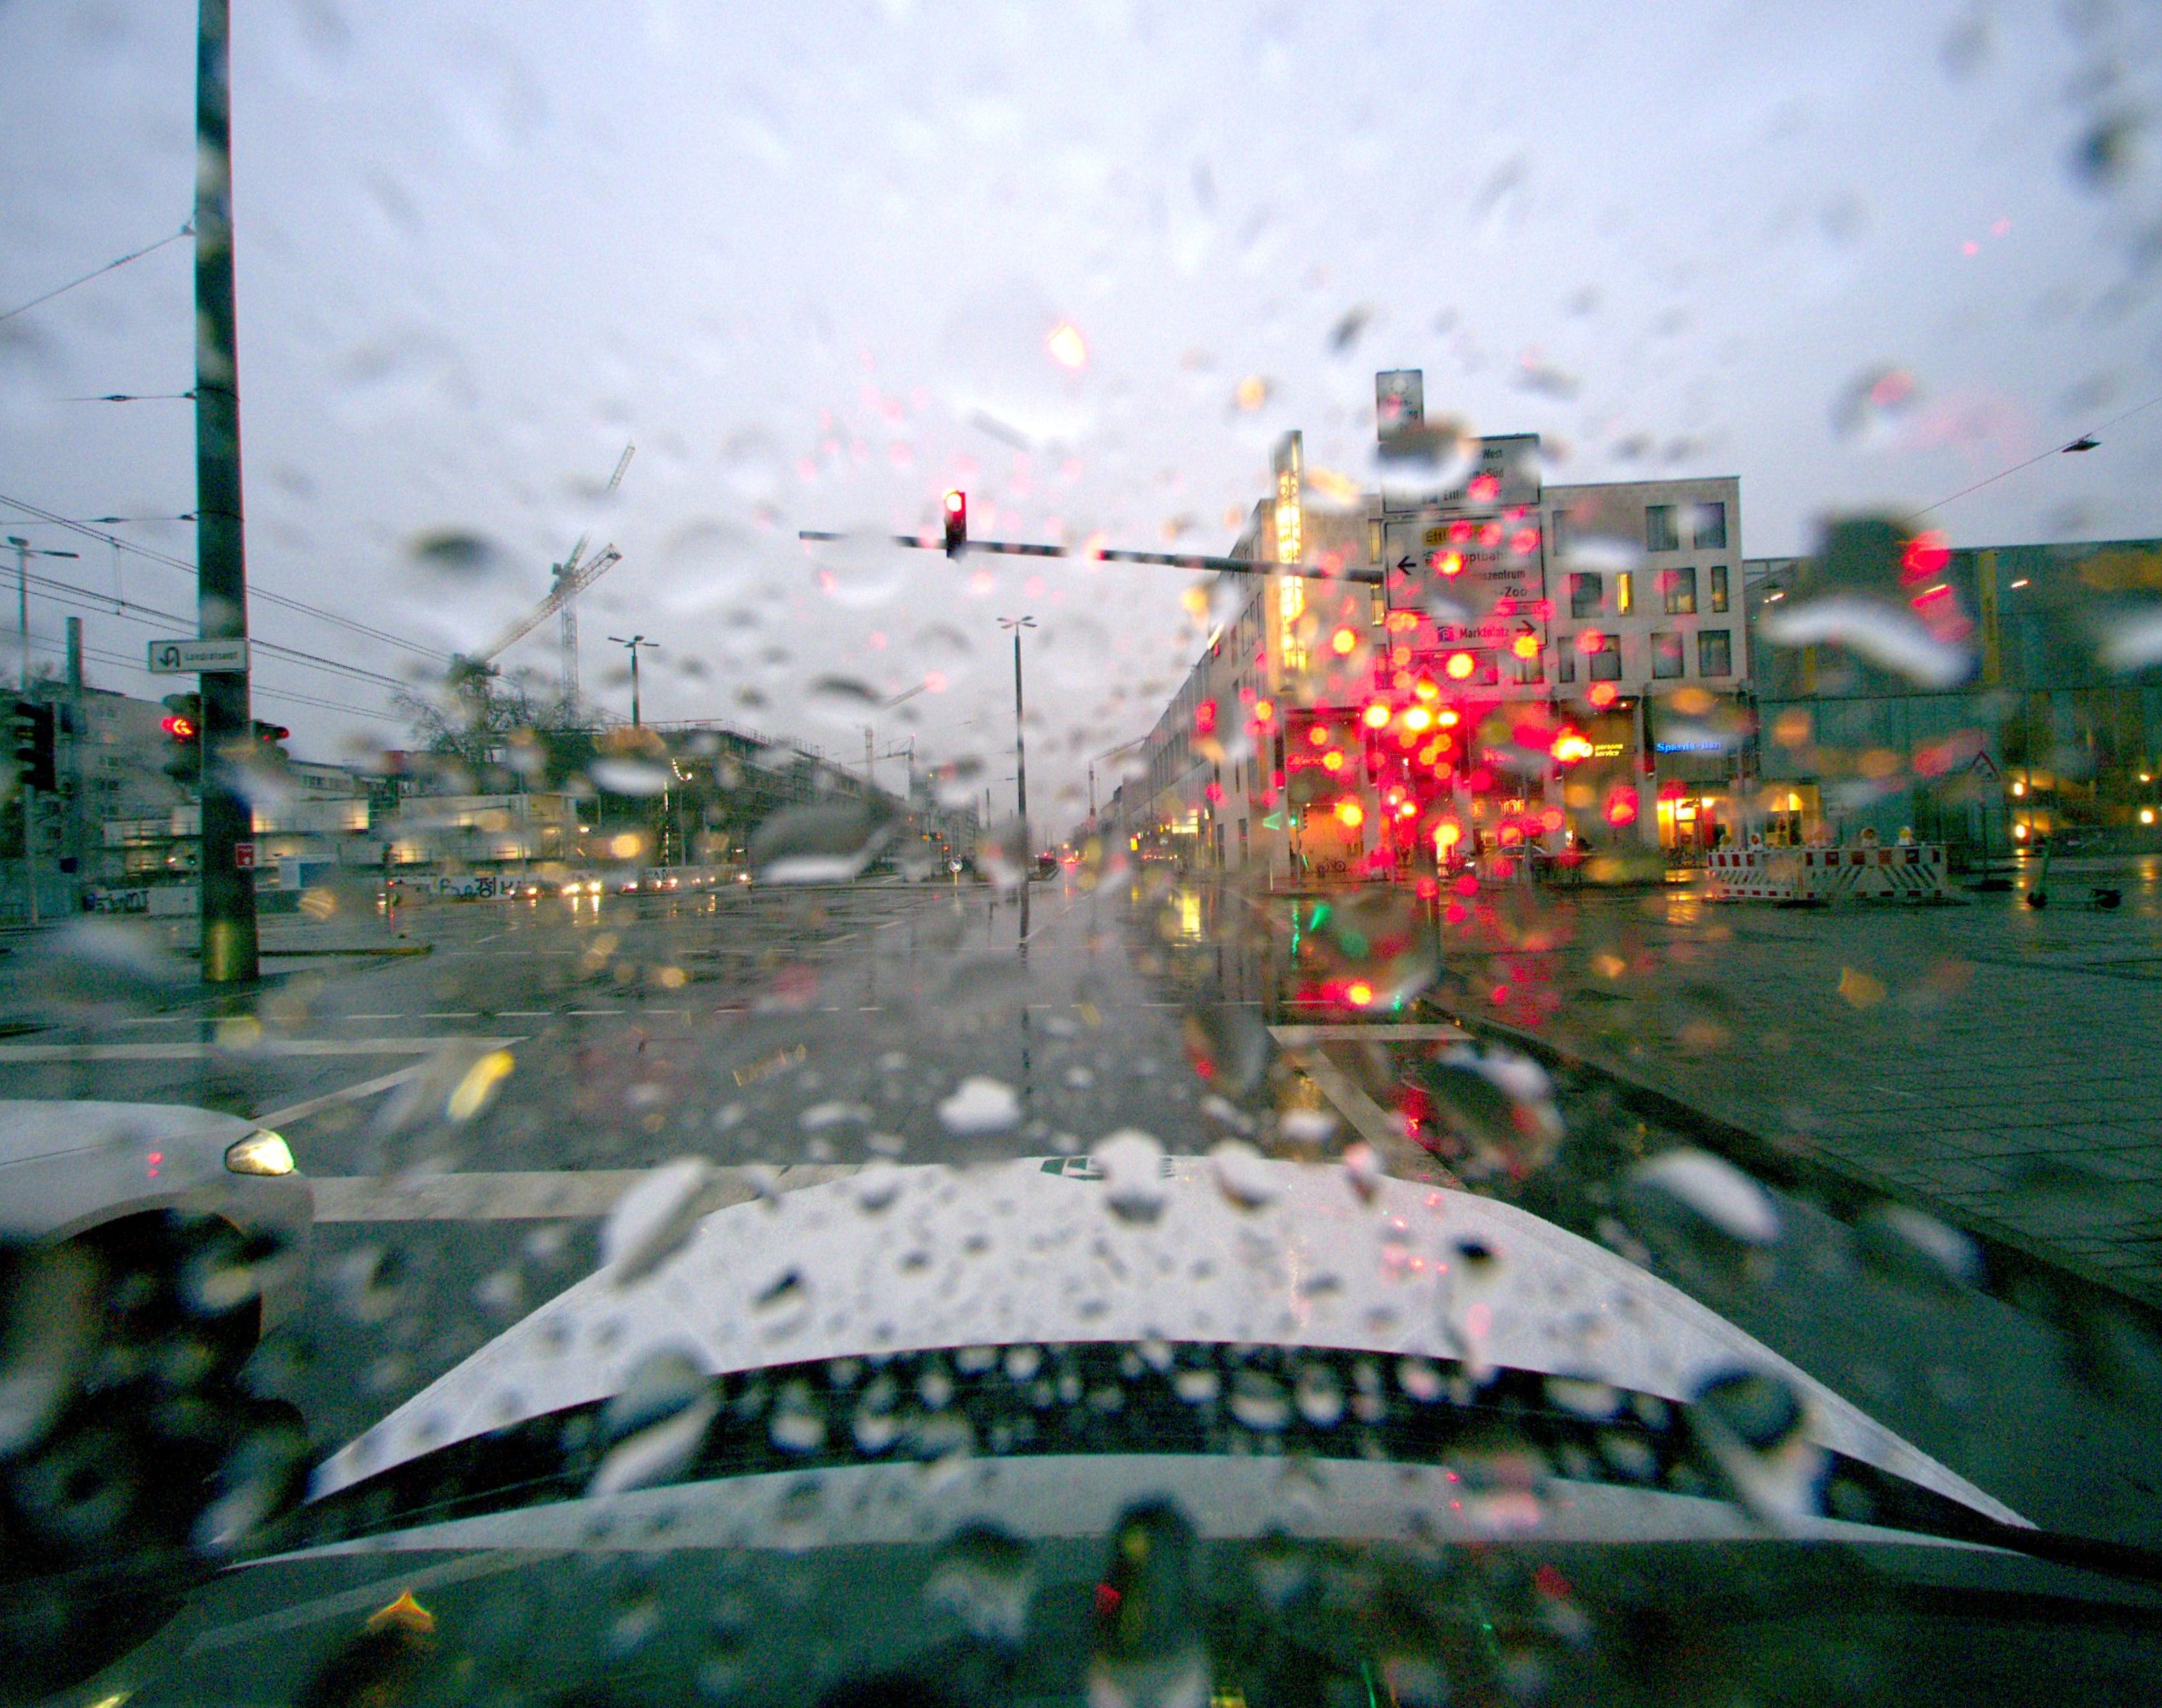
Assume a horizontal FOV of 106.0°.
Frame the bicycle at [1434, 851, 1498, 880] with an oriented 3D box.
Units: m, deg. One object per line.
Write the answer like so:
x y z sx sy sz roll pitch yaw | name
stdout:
19.253 0.581 40.786 2.705 1.359 0.957 -2 -1 -2 | bicycle

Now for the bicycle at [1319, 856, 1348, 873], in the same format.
15.694 0.657 50.595 1.642 1.070 0.524 0 -1 -2 | bicycle

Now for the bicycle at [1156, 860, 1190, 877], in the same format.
6.936 1.098 61.519 2.434 1.154 0.674 -2 -1 0 | bicycle

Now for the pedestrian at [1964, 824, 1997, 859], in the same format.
43.999 -0.619 39.826 0.737 1.684 0.783 0 -1 8 | pedestrian

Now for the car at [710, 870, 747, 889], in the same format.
-35.058 2.514 81.100 1.987 1.790 3.999 0 -1 0 | car

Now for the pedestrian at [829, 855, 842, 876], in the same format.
-23.853 1.099 79.275 0.939 2.014 1.093 0 -1 -2 | pedestrian

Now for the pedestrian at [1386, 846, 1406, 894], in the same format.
16.203 0.802 41.919 0.691 2.448 0.792 0 -1 1 | pedestrian

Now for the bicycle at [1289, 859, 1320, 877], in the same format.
13.833 0.849 50.468 1.763 1.070 0.524 0 -1 -2 | bicycle

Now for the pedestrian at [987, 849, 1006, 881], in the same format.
-4.842 0.615 46.819 0.826 1.831 0.778 0 -1 -29 | pedestrian

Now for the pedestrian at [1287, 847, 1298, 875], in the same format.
12.712 0.426 48.928 0.480 1.663 0.460 -3 -1 32 | pedestrian

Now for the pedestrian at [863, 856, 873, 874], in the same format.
-24.071 1.205 92.104 0.941 2.014 1.092 0 -1 -6 | pedestrian

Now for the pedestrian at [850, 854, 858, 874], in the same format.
-22.734 1.015 81.527 0.569 1.968 0.664 1 -1 -4 | pedestrian

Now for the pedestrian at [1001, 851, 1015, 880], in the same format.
-4.306 0.688 48.216 0.605 1.686 0.581 -1 -1 44 | pedestrian

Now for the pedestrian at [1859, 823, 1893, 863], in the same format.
34.809 -0.473 35.662 0.737 1.684 0.783 0 -1 8 | pedestrian

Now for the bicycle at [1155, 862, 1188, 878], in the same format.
6.917 1.220 62.287 2.417 1.099 0.712 -2 -1 0 | bicycle

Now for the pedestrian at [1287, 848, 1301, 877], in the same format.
12.787 0.489 48.970 0.634 1.709 0.574 -2 -1 1 | pedestrian

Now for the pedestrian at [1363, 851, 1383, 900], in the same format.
14.738 1.089 41.142 0.712 2.441 0.758 0 -1 1 | pedestrian

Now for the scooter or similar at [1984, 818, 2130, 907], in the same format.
15.687 0.132 13.146 0.590 1.352 1.495 0 0 2 | scooter or similar

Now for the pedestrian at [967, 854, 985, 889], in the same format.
-6.133 1.019 47.682 0.776 2.014 0.732 -1 -1 44 | pedestrian

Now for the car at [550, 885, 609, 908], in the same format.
-38.982 3.296 63.388 1.986 1.530 4.001 -2 0 2 | car

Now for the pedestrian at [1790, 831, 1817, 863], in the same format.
38.343 -0.368 43.230 0.737 1.684 0.783 0 -1 8 | pedestrian

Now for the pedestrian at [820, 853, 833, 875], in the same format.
-23.918 0.928 76.541 0.940 2.014 1.093 0 -1 -3 | pedestrian

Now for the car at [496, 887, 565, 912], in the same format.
-38.505 3.156 57.059 1.986 1.530 4.001 -2 0 2 | car

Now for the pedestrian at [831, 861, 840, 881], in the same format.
-23.459 1.589 77.774 0.696 1.881 0.553 0 -1 1 | pedestrian

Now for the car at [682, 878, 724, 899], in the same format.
-34.987 3.136 75.537 1.987 1.790 3.999 0 -1 0 | car

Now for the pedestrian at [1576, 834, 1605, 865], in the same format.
27.935 -0.240 44.661 1.026 1.684 0.824 0 -1 1 | pedestrian

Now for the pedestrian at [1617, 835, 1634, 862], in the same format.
30.367 -0.289 45.402 0.583 1.494 0.520 -1 -1 4 | pedestrian

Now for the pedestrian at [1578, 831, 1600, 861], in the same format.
29.372 -0.431 47.095 0.890 1.684 0.528 -2 -1 1 | pedestrian

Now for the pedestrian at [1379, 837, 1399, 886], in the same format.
15.557 0.397 41.161 0.687 2.441 0.758 0 -1 1 | pedestrian

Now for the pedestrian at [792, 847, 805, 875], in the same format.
-24.113 0.597 69.540 0.762 2.323 0.763 0 -2 1 | pedestrian

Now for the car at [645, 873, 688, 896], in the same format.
-34.814 2.521 68.543 1.862 1.828 3.993 0 -1 -5 | car

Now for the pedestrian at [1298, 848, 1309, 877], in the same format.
13.638 0.508 49.902 0.596 1.745 0.526 -1 -1 10 | pedestrian

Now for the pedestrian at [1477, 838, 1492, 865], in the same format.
26.143 -0.140 52.787 0.728 1.718 0.743 -3 -1 29 | pedestrian

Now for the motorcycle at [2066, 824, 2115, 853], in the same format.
48.253 -0.753 38.922 1.482 1.352 0.595 0 0 5 | motorcycle

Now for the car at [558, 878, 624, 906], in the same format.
-33.725 2.583 56.147 1.986 1.657 4.001 -2 0 2 | car

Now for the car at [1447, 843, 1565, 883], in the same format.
17.944 0.370 34.551 3.970 1.618 2.001 0 -1 3 | car

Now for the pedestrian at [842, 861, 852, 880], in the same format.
-22.815 1.605 79.467 0.762 1.898 0.763 0 -2 1 | pedestrian

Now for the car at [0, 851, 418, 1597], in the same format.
-3.210 0.769 0.348 2.010 1.487 4.561 -2 0 1 | car

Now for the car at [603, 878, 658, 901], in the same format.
-34.275 2.642 62.080 2.074 1.530 4.603 -2 0 -7 | car

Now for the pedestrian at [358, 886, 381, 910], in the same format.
-42.214 2.620 48.329 0.723 1.388 0.727 -1 -1 13 | pedestrian

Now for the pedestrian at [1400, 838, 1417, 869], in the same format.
21.597 -0.055 53.706 0.841 2.013 0.700 -2 0 10 | pedestrian
